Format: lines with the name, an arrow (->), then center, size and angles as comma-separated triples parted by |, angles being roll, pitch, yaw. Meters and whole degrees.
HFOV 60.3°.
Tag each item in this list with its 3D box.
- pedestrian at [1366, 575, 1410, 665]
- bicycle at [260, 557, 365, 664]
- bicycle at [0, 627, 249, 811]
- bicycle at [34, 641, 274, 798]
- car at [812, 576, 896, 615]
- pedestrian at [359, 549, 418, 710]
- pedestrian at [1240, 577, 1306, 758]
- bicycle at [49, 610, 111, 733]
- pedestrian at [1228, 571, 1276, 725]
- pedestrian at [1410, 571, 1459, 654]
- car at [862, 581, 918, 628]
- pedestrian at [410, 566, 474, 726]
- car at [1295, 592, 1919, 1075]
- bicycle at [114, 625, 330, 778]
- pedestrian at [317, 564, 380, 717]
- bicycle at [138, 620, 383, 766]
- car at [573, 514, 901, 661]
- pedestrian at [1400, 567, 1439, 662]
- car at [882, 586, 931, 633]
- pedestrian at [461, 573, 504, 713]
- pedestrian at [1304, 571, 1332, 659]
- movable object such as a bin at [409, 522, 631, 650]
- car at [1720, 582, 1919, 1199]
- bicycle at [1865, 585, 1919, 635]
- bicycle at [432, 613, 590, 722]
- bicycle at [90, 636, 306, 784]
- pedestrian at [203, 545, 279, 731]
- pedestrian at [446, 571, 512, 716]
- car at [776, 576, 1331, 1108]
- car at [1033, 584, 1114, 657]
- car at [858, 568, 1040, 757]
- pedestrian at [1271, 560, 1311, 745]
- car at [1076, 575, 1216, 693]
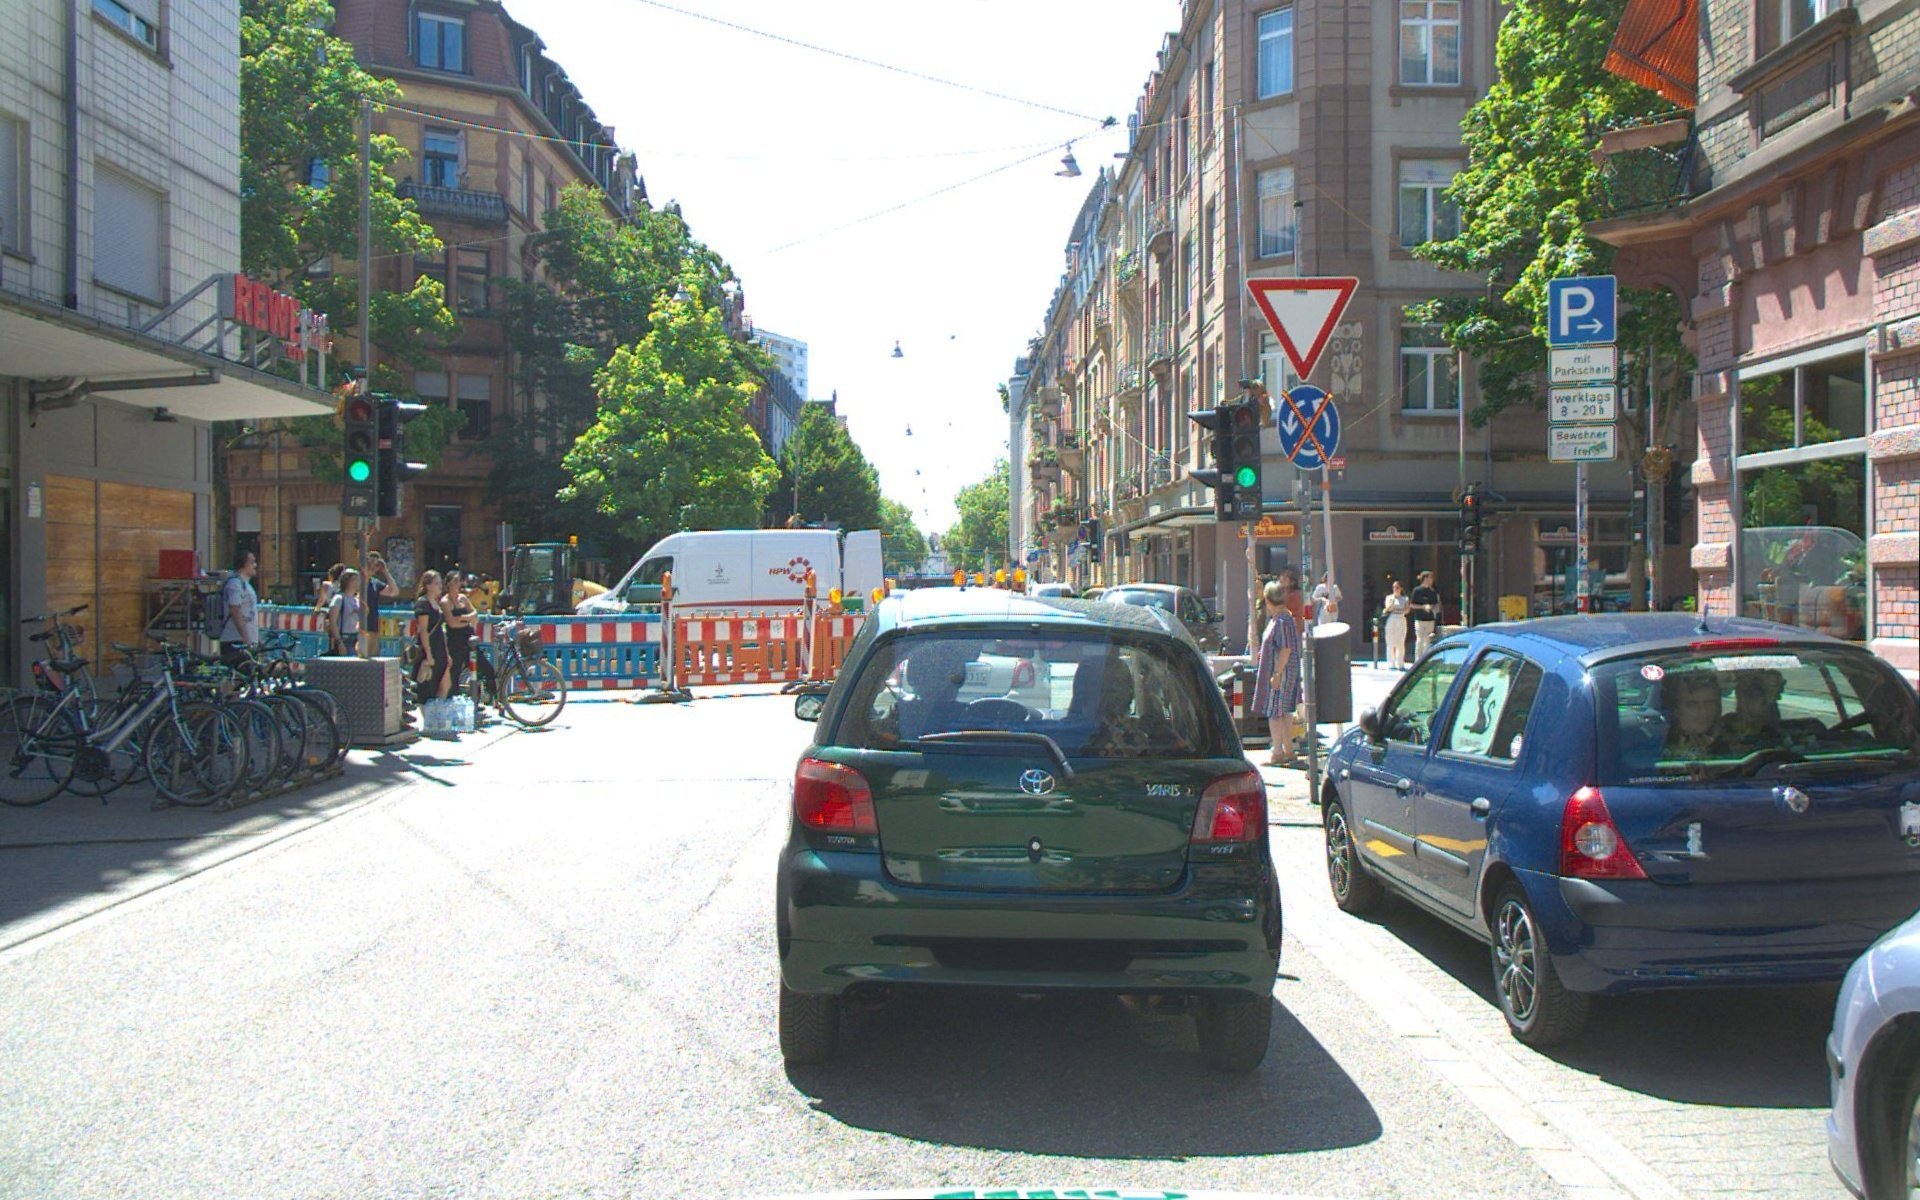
pedestrian -> 8.238, 0.387, 31.864 | 0.688, 1.673, 0.422 | -2, 4, -9
bicycle -> -8.021, 0.114, 20.576 | 0.524, 1.269, 2.012 | 0, 0, -1
bicycle -> -5.742, 0.798, 11.220 | 1.553, 1.159, 0.526 | 2, 0, -5
bicycle -> -5.775, 0.851, 11.884 | 1.465, 1.048, 0.397 | 2, 0, -5
car -> -6.180, -0.242, 96.681 | 4.506, 2.226, 1.982 | 0, 0, -28
pedestrian -> -6.697, 0.338, 19.403 | 0.499, 1.852, 0.599 | 0, 0, -3
pedestrian -> 2.784, 0.589, 14.723 | 0.482, 1.570, 0.437 | -2, 0, 5
bicycle -> -8.596, 0.670, 16.180 | 0.316, 1.105, 1.425 | 0, 1, -19
pedestrian -> 3.034, 0.490, 17.201 | 0.450, 1.587, 0.479 | 0, 0, 5
pedestrian -> 9.548, 0.254, 33.295 | 0.785, 1.652, 0.643 | 0, 0, 0
car -> -2.295, 0.143, 55.010 | 1.719, 1.469, 4.000 | -1, 0, -1
pedestrian -> -5.448, 0.478, 17.406 | 0.530, 1.661, 0.511 | 0, 0, -3
car -> 2.665, 0.712, 6.987 | 1.595, 1.457, 3.658 | -1, 0, -3
bicycle -> -5.815, 0.795, 13.066 | 1.489, 1.136, 0.335 | 2, 0, -5
pedestrian -> -6.746, 0.439, 18.261 | 0.499, 1.661, 0.599 | 0, 0, -3
bicycle -> -5.844, 0.775, 13.894 | 1.763, 1.142, 0.577 | 2, 0, -7
car -> -4.585, -0.257, 34.884 | 6.486, 2.799, 2.380 | 2, 0, 0
pedestrian -> 8.913, 0.272, 32.082 | 0.564, 1.799, 0.471 | -2, 4, -9
car -> -2.039, 0.347, 64.501 | 1.719, 1.674, 4.377 | -3, 0, -1
pedestrian -> -5.656, 0.500, 19.592 | 0.382, 1.646, 0.475 | 0, 0, -3
pedestrian -> 7.242, 0.302, 33.473 | 0.467, 1.763, 0.872 | 0, -1, 18
movable object such as a bin -> -9.926, -0.307, 37.574 | 4.450, 2.705, 1.955 | 2, 0, 0
car -> 2.809, 0.688, 1.844 | 1.691, 1.457, 4.483 | -1, 0, -3
bicycle -> 19.921, 0.211, 34.643 | 1.690, 1.014, 0.504 | 0, 2, -5
bicycle -> -5.076, 0.746, 18.669 | 1.767, 1.138, 0.468 | 2, 1, 21
bicycle -> -5.769, 0.832, 12.561 | 1.419, 1.054, 0.335 | 2, 0, -5
pedestrian -> -7.100, 0.370, 16.349 | 0.499, 1.801, 0.599 | 0, 0, -3
pedestrian -> -5.400, 0.476, 18.576 | 0.486, 1.593, 0.459 | 2, 1, 25
car -> 0.261, 0.691, 6.381 | 1.581, 1.511, 3.240 | 1, 0, -1
car -> 2.464, 0.401, 35.258 | 1.593, 1.457, 3.663 | -1, 0, 6
car -> -0.123, 0.491, 15.180 | 1.491, 1.547, 3.263 | 0, 1, -1
pedestrian -> 3.096, 0.484, 15.469 | 0.325, 1.705, 0.402 | 0, 0, 5
car -> 2.807, 0.446, 24.479 | 1.490, 1.620, 3.266 | 0, 1, 17
